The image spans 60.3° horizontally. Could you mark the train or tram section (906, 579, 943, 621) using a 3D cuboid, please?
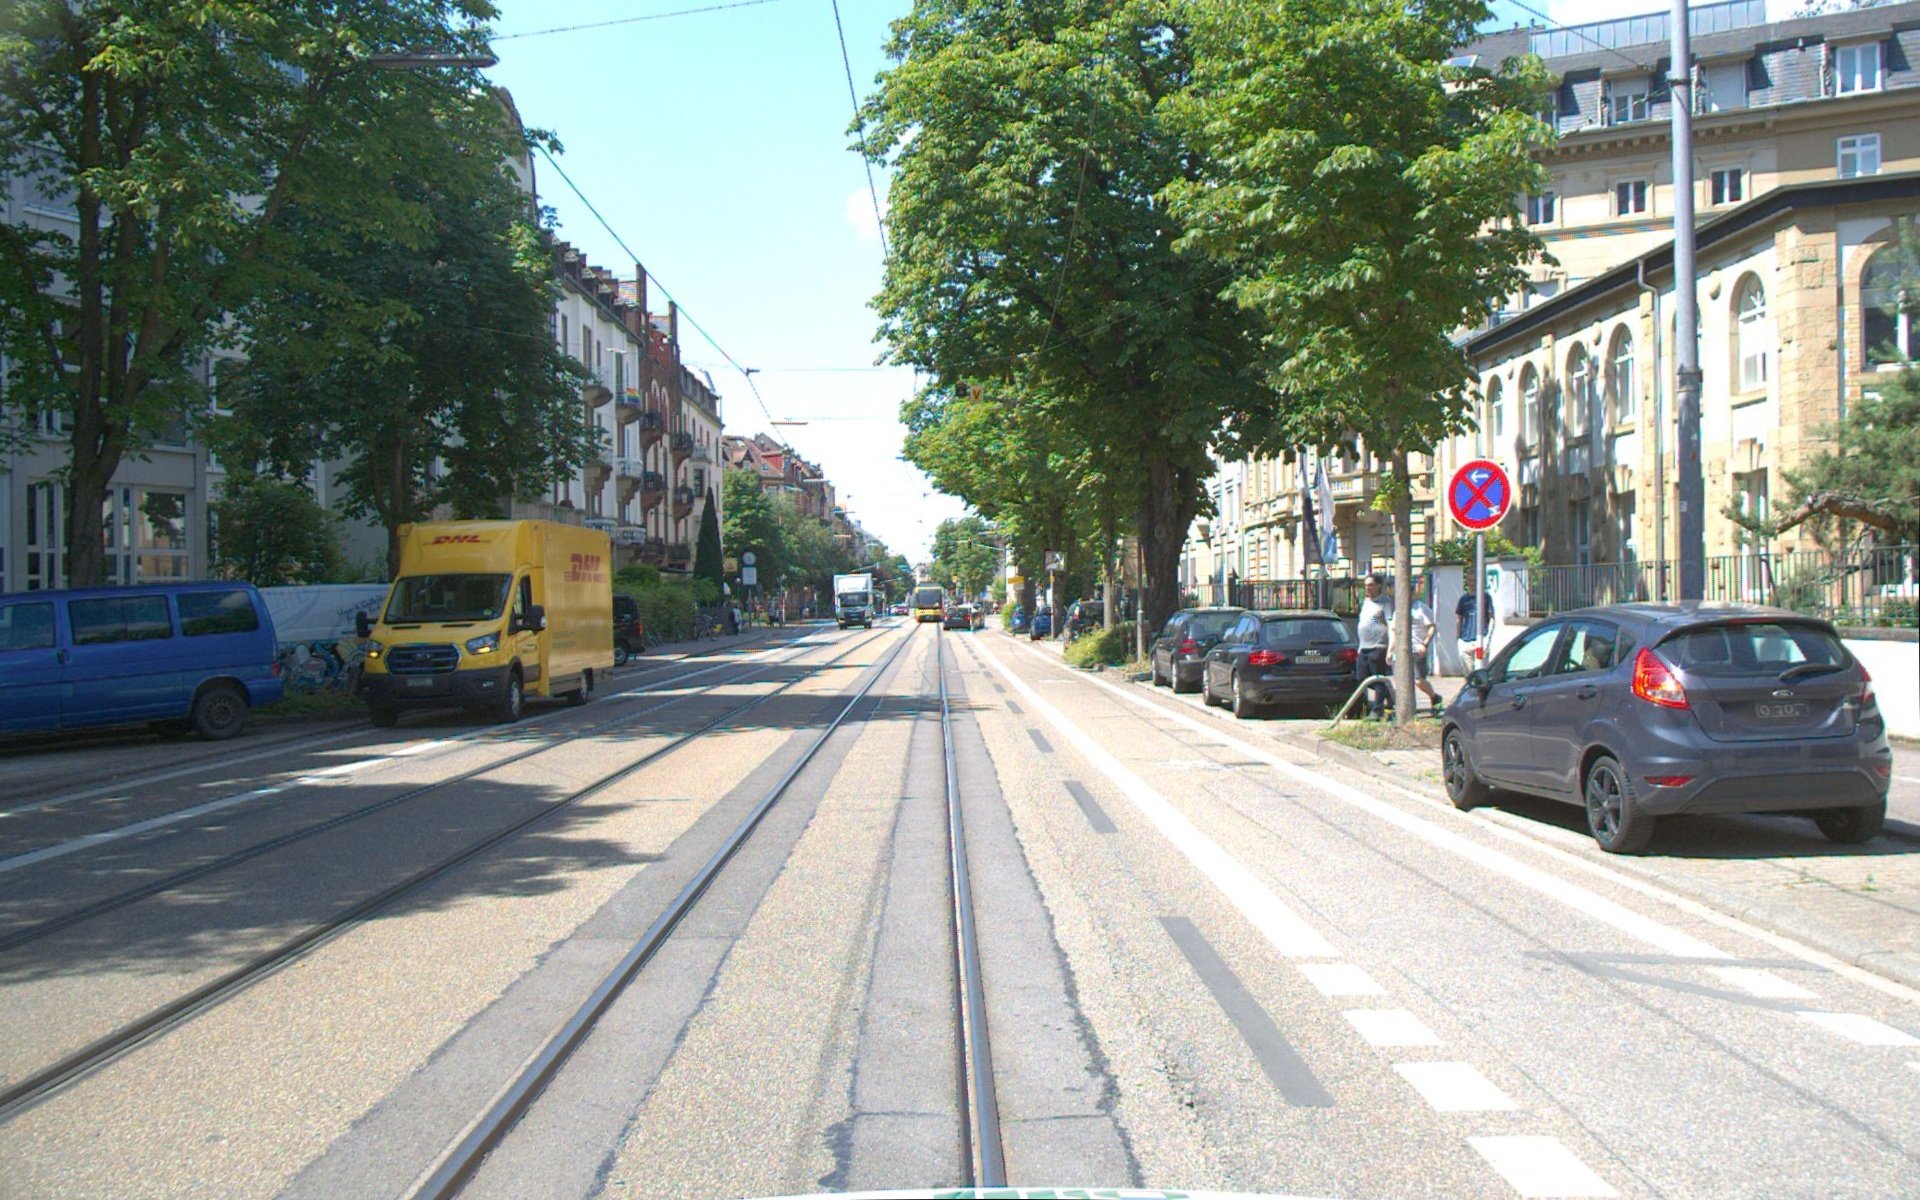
[{"bbox_3d":[-3.087,-0.026,146.338,2.973,3.498,11.969,-1,0,0],"label":"train or tram section"}]

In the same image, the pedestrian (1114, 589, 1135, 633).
[{"bbox_3d":[7.212,0.490,72.403,0.792,1.892,0.623,-1,-2,-3],"label":"pedestrian"}]

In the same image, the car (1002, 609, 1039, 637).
[{"bbox_3d":[3.267,1.240,89.740,1.676,1.448,4.308,-2,-1,-2],"label":"car"}]

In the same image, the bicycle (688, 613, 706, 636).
[{"bbox_3d":[-11.742,1.093,73.948,0.532,0.986,1.781,0,0,-1],"label":"bicycle"}]

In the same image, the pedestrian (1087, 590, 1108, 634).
[{"bbox_3d":[5.985,0.530,71.950,0.792,1.892,0.576,-1,-2,-3],"label":"pedestrian"}]

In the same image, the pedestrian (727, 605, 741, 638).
[{"bbox_3d":[-11.200,1.061,82.111,0.561,1.644,0.816,-1,0,0],"label":"pedestrian"}]

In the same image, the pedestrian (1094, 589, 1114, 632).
[{"bbox_3d":[6.450,0.480,73.912,0.792,1.892,0.623,-1,-2,-3],"label":"pedestrian"}]

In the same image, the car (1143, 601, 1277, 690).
[{"bbox_3d":[4.471,0.795,30.148,1.676,1.448,4.242,-2,-1,-2],"label":"car"}]

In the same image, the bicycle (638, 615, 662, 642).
[{"bbox_3d":[-11.412,1.051,60.890,0.532,0.986,1.989,0,-1,0],"label":"bicycle"}]

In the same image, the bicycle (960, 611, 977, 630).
[{"bbox_3d":[0.448,1.120,88.253,0.625,0.986,1.782,0,-2,9],"label":"bicycle"}]

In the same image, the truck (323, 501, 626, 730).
[{"bbox_3d":[-7.076,0.188,25.268,2.312,2.902,7.378,-2,0,1],"label":"truck"}]

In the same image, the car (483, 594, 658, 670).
[{"bbox_3d":[-10.783,0.880,45.927,4.444,1.974,1.680,-1,-1,-40],"label":"car"}]

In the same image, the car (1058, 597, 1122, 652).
[{"bbox_3d":[4.065,0.760,52.192,1.560,1.645,3.906,-2,-1,-2],"label":"car"}]

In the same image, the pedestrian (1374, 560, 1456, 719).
[{"bbox_3d":[5.553,0.472,20.188,0.570,1.892,0.717,-1,0,-37],"label":"pedestrian"}]

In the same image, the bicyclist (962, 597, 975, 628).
[{"bbox_3d":[0.455,0.665,88.406,0.609,1.644,0.865,0,-2,9],"label":"bicyclist"}]

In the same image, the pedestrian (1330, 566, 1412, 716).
[{"bbox_3d":[5.301,0.521,21.352,0.570,1.892,0.800,-1,0,-37],"label":"pedestrian"}]

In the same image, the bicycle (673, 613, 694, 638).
[{"bbox_3d":[-11.396,1.043,68.292,0.532,0.986,1.990,0,0,0],"label":"bicycle"}]

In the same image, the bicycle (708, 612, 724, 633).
[{"bbox_3d":[-11.867,1.078,80.393,0.532,0.986,1.780,0,0,-1],"label":"bicycle"}]

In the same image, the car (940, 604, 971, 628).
[{"bbox_3d":[-0.275,0.922,97.410,1.745,1.369,3.415,-1,0,-1],"label":"car"}]

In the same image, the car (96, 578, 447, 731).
[{"bbox_3d":[-10.813,0.792,26.156,4.719,2.098,1.997,-2,0,-40],"label":"car"}]

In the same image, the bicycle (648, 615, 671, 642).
[{"bbox_3d":[-11.425,1.095,62.945,0.532,0.986,1.989,0,-2,0],"label":"bicycle"}]

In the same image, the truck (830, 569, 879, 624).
[{"bbox_3d":[-7.175,-0.229,113.937,2.880,3.612,8.451,-1,0,-1],"label":"truck"}]

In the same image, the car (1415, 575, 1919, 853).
[{"bbox_3d":[4.569,0.657,11.254,1.607,1.511,3.869,-2,-1,-4],"label":"car"}]

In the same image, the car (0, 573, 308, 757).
[{"bbox_3d":[-10.602,0.747,20.011,1.815,1.989,4.701,-2,0,43],"label":"car"}]

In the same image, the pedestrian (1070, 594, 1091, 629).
[{"bbox_3d":[5.317,0.514,73.088,0.791,1.557,0.624,-1,-2,17],"label":"pedestrian"}]

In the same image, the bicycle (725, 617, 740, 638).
[{"bbox_3d":[-11.649,1.392,84.785,0.532,0.986,1.781,0,1,-1],"label":"bicycle"}]

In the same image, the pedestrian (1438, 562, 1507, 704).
[{"bbox_3d":[6.524,0.416,21.046,0.473,1.767,0.612,-2,-1,-37],"label":"pedestrian"}]

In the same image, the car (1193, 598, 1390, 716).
[{"bbox_3d":[4.612,0.761,23.675,1.838,1.480,4.527,-2,-1,-1],"label":"car"}]

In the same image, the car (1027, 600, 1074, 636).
[{"bbox_3d":[3.881,0.784,71.424,1.676,1.448,4.308,-2,-1,-2],"label":"car"}]

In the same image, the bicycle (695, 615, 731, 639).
[{"bbox_3d":[-10.577,1.160,70.847,0.532,0.986,1.778,-1,-2,28],"label":"bicycle"}]
